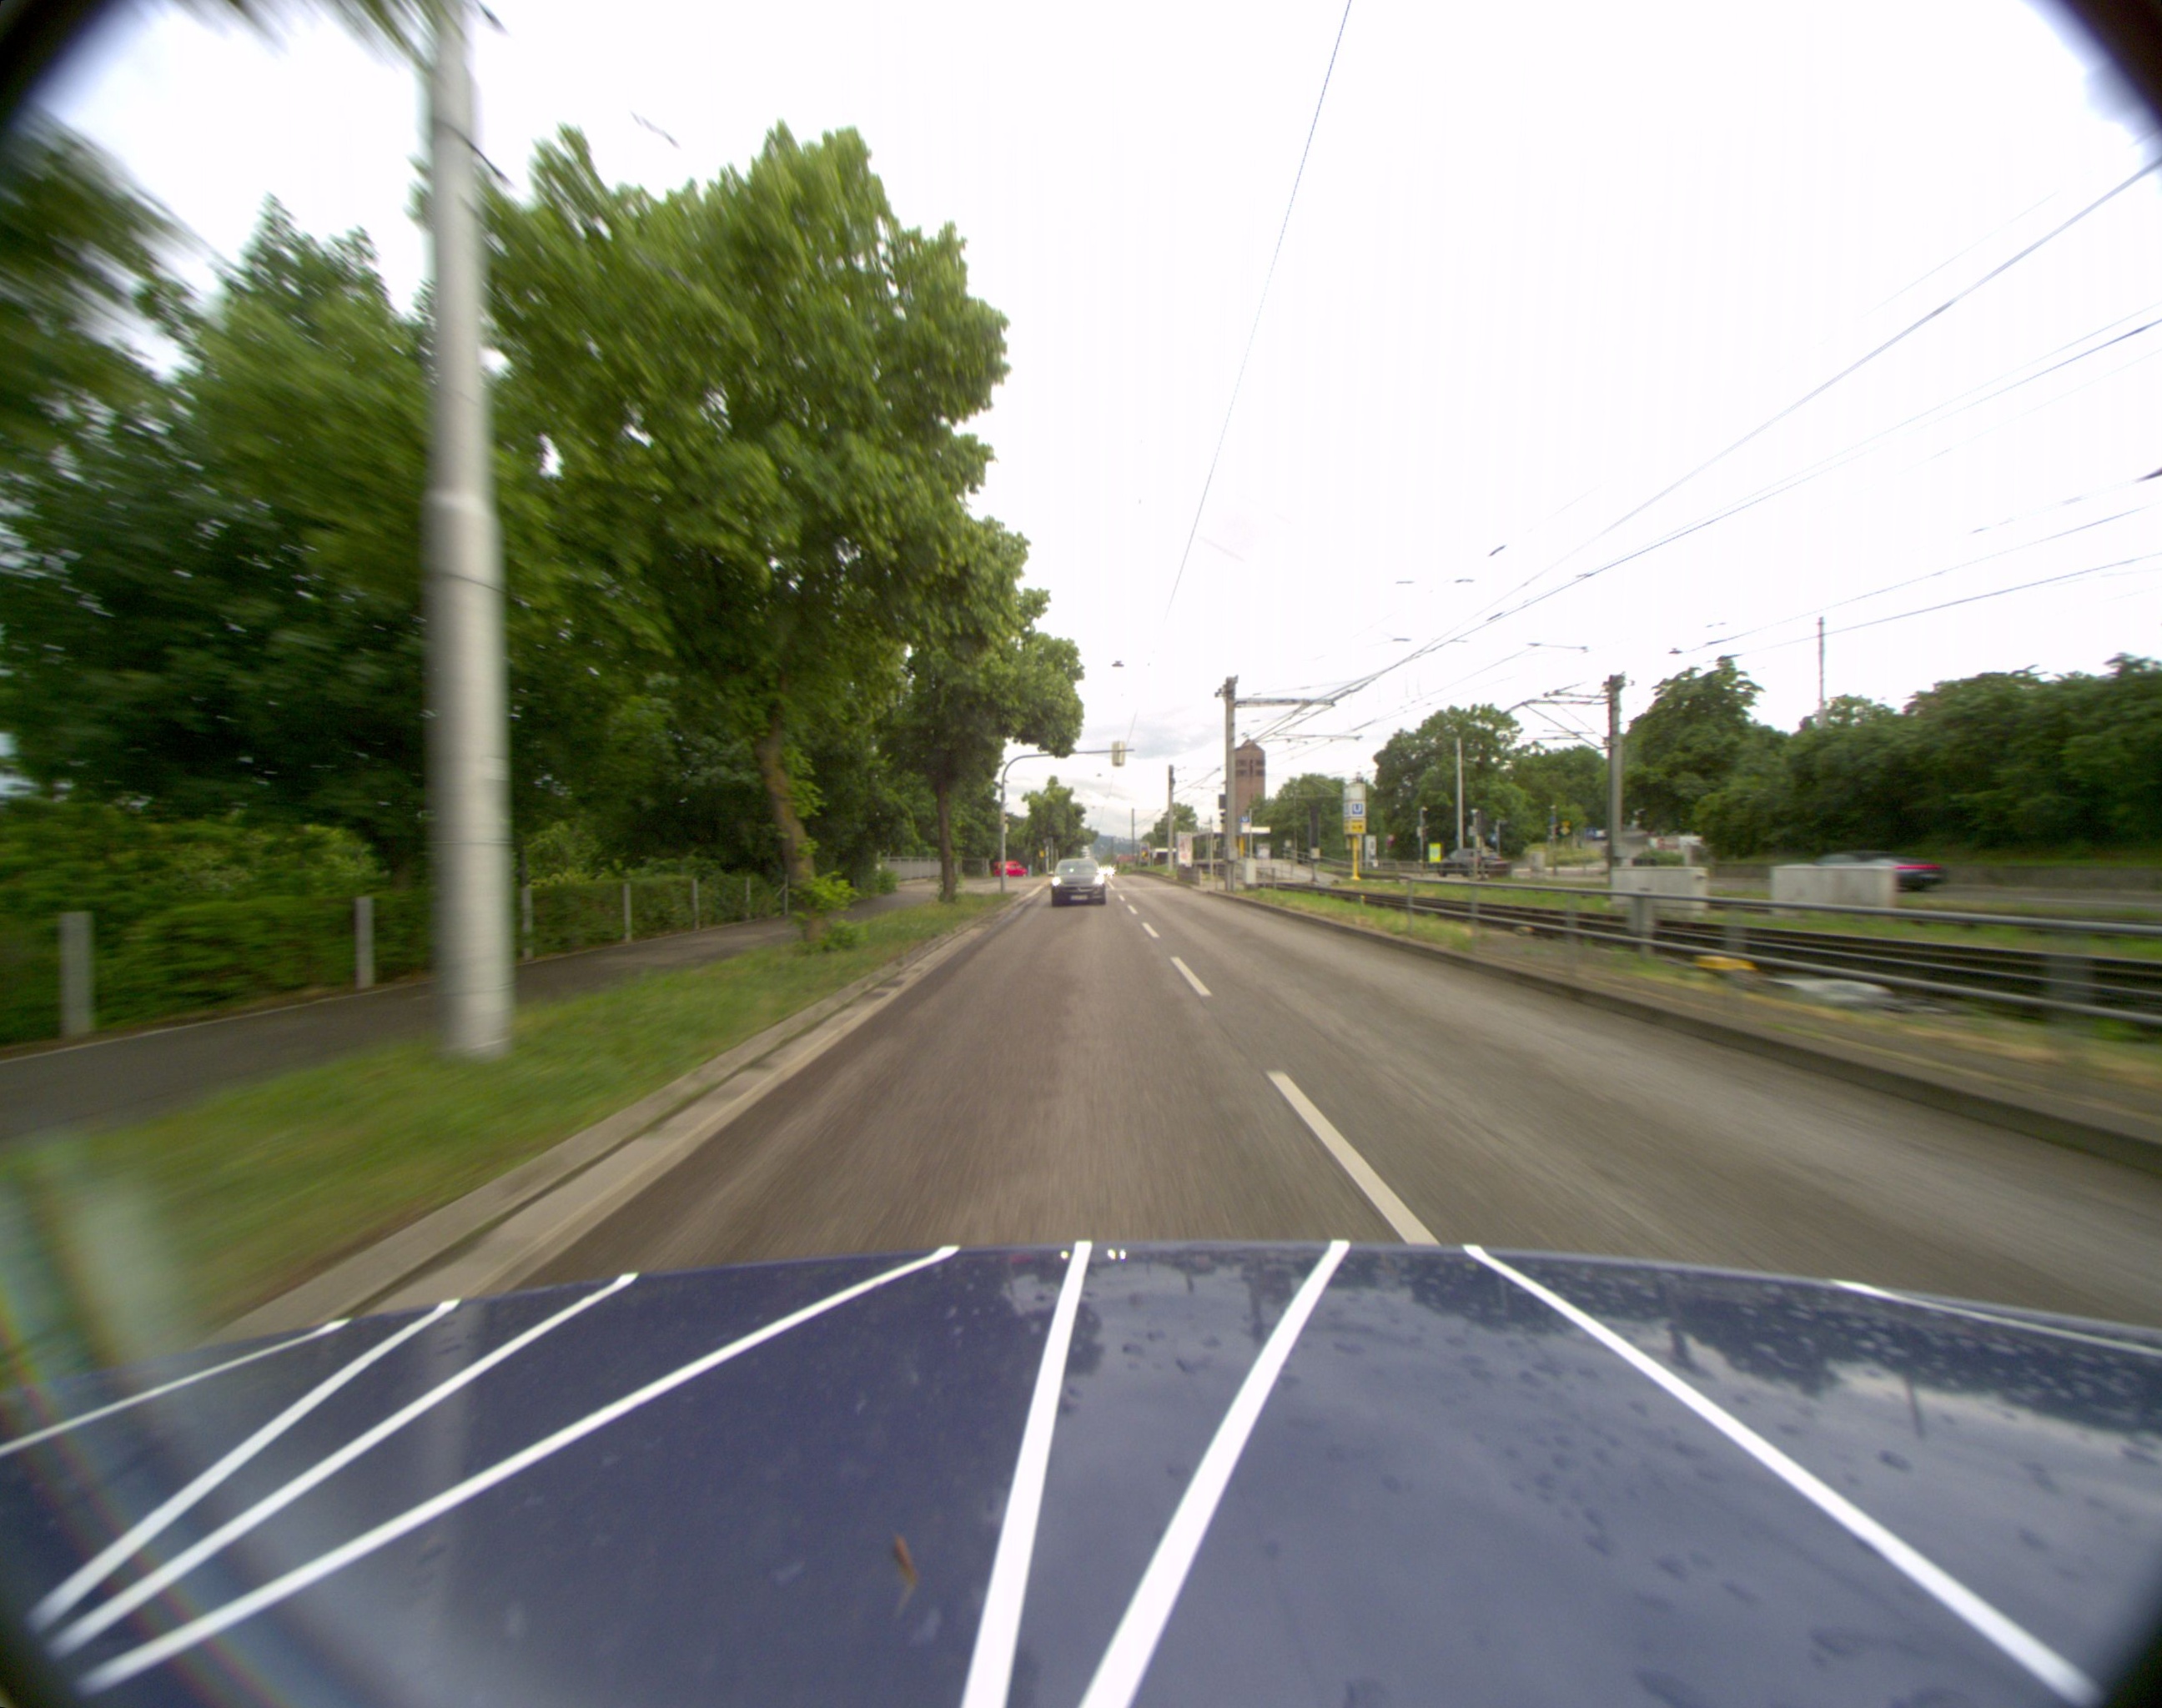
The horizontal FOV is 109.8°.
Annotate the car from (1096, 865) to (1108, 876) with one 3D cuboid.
[{"bbox_3d":[3.247,2.597,118.237,1.812,1.566,3.971,-2,0,0],"label":"car"}]

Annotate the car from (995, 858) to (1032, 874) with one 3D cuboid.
[{"bbox_3d":[-9.508,1.676,107.394,1.994,2.179,5.041,-1,0,43],"label":"car"}]

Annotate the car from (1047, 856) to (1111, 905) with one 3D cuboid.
[{"bbox_3d":[-0.036,0.835,24.966,1.899,1.432,4.474,-1,-1,1],"label":"car"}]

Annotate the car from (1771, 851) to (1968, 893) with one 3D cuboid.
[{"bbox_3d":[25.969,0.540,25.297,1.932,1.254,4.474,-1,0,0],"label":"car"}]

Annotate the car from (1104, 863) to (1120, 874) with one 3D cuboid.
[{"bbox_3d":[4.052,1.896,99.709,1.899,1.432,4.247,-1,-1,1],"label":"car"}]

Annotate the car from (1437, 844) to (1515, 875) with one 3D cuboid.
[{"bbox_3d":[23.509,0.302,45.460,2.088,1.728,4.862,-1,0,0],"label":"car"}]
